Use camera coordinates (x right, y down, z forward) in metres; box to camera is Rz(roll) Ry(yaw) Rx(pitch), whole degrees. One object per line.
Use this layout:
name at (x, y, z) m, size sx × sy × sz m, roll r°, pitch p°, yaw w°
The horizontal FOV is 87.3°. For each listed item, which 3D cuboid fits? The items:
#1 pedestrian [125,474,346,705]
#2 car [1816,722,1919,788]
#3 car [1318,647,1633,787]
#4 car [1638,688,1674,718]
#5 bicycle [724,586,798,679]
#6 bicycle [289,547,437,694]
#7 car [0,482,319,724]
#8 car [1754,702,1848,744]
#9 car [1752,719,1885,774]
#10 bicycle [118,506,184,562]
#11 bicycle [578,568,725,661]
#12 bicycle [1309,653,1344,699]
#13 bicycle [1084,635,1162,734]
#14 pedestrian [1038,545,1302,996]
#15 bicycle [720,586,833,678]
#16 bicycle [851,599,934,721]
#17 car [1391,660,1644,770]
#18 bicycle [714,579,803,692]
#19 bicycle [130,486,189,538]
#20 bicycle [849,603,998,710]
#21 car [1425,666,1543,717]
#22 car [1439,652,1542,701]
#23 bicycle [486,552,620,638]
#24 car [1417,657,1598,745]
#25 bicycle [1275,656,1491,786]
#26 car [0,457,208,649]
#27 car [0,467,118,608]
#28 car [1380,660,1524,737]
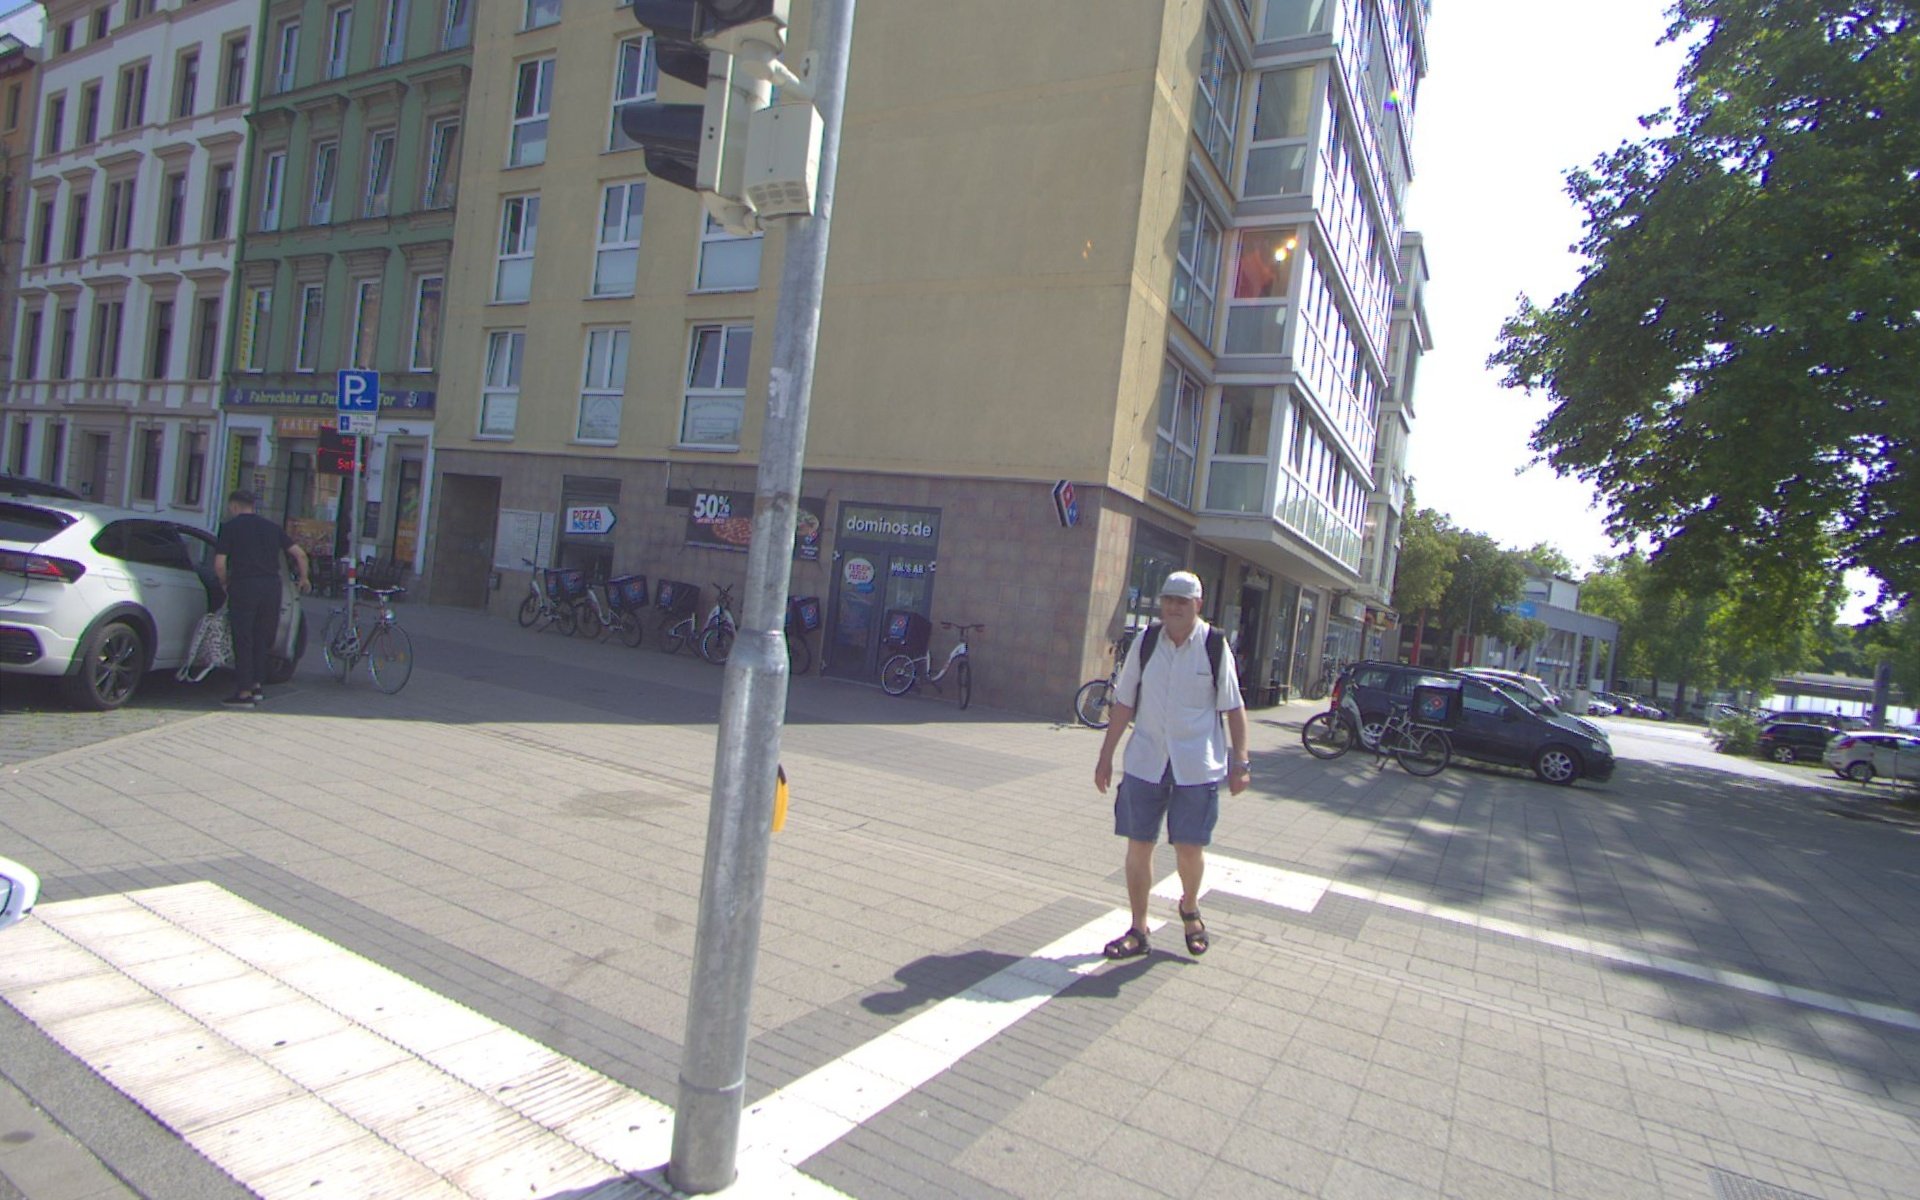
pedestrian at (-6.051, -0.069, 8.473) m, size 0.887 × 1.724 × 1.038 m, roll 7°, pitch 0°, yaw 3°
car at (27.140, 4.558, 29.101) m, size 3.236 × 1.479 × 1.612 m, roll 7°, pitch 1°, yaw 30°
car at (8.200, 1.827, 16.327) m, size 4.172 × 1.487 × 1.906 m, roll 7°, pitch -2°, yaw 27°
car at (53.445, 7.926, 77.245) m, size 1.581 × 2.039 × 3.669 m, roll 8°, pitch 0°, yaw 42°
bicycle at (-3.075, 0.474, 15.469) m, size 0.585 × 1.254 × 1.534 m, roll 6°, pitch 1°, yaw -28°
bicycle at (-6.141, 0.188, 10.315) m, size 1.762 × 1.313 × 0.473 m, roll 6°, pitch 1°, yaw 32°
car at (-7.136, -0.075, 8.192) m, size 1.778 × 1.517 × 3.780 m, roll 9°, pitch -2°, yaw -11°
car at (42.908, 6.264, 51.372) m, size 3.492 × 1.508 × 1.607 m, roll 7°, pitch 1°, yaw 42°
car at (30.608, 5.208, 35.985) m, size 3.236 × 1.298 × 1.612 m, roll 7°, pitch 0°, yaw 30°
bicycle at (-21.124, -1.722, 26.240) m, size 2.429 × 1.161 × 0.480 m, roll 9°, pitch 2°, yaw 32°
bicycle at (-5.202, 0.237, 16.898) m, size 2.382 × 1.254 × 0.939 m, roll 7°, pitch 1°, yaw 33°
bicycle at (11.173, 2.306, 30.649) m, size 0.700 × 1.282 × 1.725 m, roll 7°, pitch 0°, yaw 26°
bicycle at (2.309, 1.155, 14.090) m, size 0.579 × 1.222 × 1.726 m, roll 7°, pitch 0°, yaw 22°
pedestrian at (1.009, 0.734, 4.736) m, size 0.800 × 1.829 × 0.820 m, roll 7°, pitch 0°, yaw 30°
bicycle at (-2.965, 0.503, 16.180) m, size 1.795 × 1.254 × 0.409 m, roll 7°, pitch 1°, yaw 27°
bicycle at (-1.039, 0.766, 14.432) m, size 0.888 × 1.422 × 3.359 m, roll 7°, pitch 0°, yaw -7°
car at (11.160, 2.243, 20.458) m, size 4.172 × 1.489 × 1.904 m, roll 7°, pitch 0°, yaw 27°
bicycle at (-2.966, 0.461, 15.168) m, size 0.888 × 1.422 × 3.359 m, roll 7°, pitch 0°, yaw -7°
bicycle at (-20.723, -2.286, 26.031) m, size 1.816 × 1.199 × 0.459 m, roll 7°, pitch 1°, yaw 30°
bicycle at (-0.542, 0.794, 14.566) m, size 1.926 × 1.262 × 0.729 m, roll 7°, pitch 1°, yaw 29°
car at (20.997, 3.624, 40.452) m, size 4.002 × 1.415 × 1.788 m, roll 7°, pitch 0°, yaw 27°
car at (24.601, 3.516, 46.782) m, size 4.002 × 1.687 × 1.788 m, roll 7°, pitch 1°, yaw 27°
bicycle at (-7.397, -0.099, 18.239) m, size 2.382 × 1.254 × 0.939 m, roll 7°, pitch 1°, yaw 33°
car at (14.682, 2.662, 27.191) m, size 4.002 × 1.687 × 1.788 m, roll 7°, pitch 1°, yaw 27°
bicycle at (5.440, 1.509, 13.006) m, size 2.393 × 1.254 × 0.793 m, roll 7°, pitch 1°, yaw 29°
car at (-9.709, -0.548, 9.858) m, size 1.954 × 1.708 × 4.381 m, roll 7°, pitch 0°, yaw -12°
car at (-12.767, -0.886, 12.052) m, size 2.011 × 1.735 × 4.654 m, roll 7°, pitch 0°, yaw -12°
car at (12.384, 2.444, 25.405) m, size 3.044 × 1.447 × 1.402 m, roll 7°, pitch 1°, yaw 27°
